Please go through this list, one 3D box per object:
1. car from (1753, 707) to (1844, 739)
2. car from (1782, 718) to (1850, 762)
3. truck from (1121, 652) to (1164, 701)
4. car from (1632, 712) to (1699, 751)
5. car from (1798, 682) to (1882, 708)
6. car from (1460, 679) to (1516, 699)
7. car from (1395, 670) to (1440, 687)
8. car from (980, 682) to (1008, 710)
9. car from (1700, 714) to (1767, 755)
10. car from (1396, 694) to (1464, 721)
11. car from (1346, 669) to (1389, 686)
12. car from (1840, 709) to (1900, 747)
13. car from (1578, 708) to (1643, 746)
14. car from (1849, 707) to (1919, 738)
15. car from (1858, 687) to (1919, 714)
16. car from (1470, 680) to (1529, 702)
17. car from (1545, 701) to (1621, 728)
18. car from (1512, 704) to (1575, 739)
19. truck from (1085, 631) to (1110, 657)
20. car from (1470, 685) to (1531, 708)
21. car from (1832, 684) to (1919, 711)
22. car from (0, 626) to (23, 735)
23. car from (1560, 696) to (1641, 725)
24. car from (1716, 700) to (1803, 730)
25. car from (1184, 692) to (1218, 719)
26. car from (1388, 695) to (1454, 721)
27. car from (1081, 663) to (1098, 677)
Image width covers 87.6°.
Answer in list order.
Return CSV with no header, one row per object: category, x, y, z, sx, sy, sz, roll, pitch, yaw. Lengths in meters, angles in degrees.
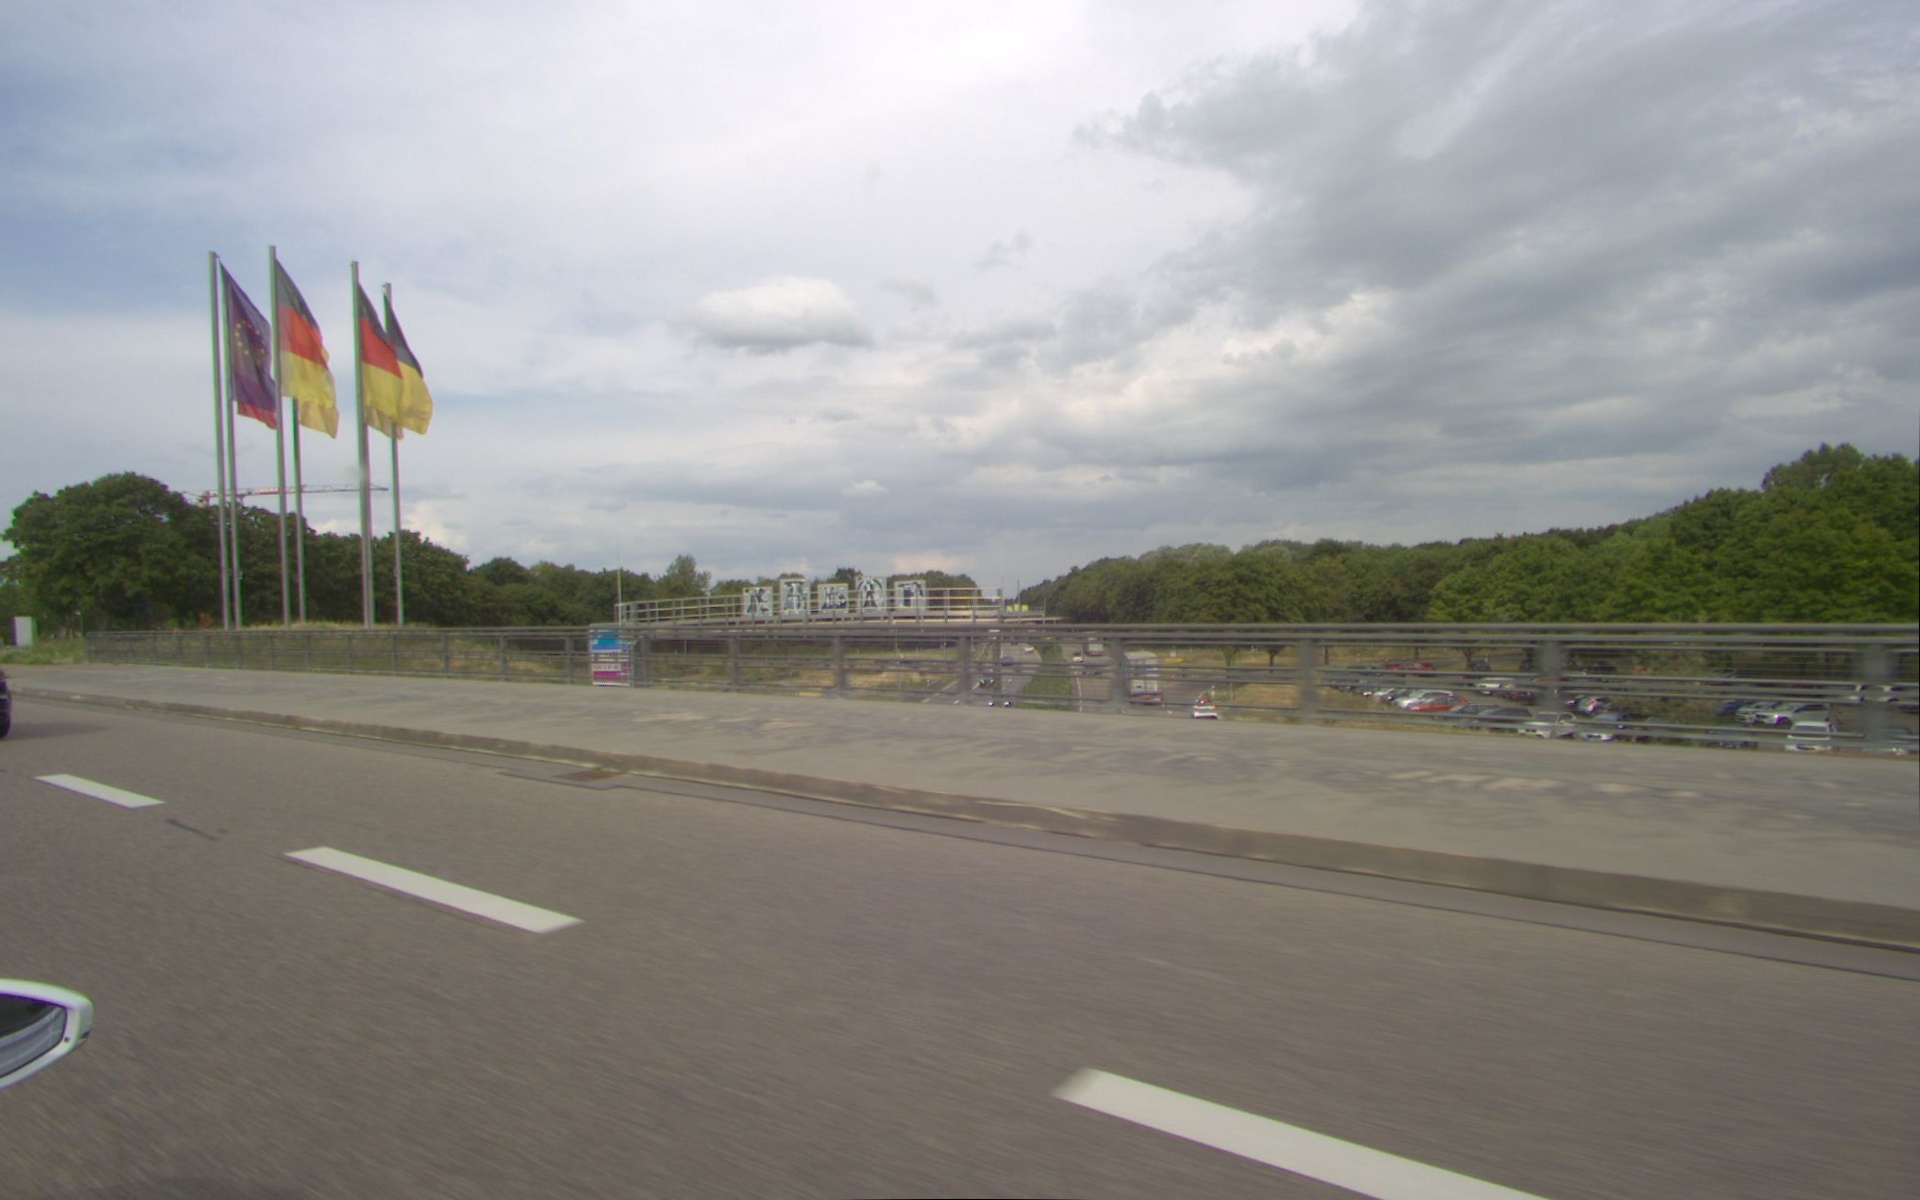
car,48.819,7.147,58.331,3.924,1.594,1.999,0,-1,-8
car,40.724,6.603,47.590,3.959,1.594,1.982,1,-2,-42
truck,16.337,6.749,90.618,3.293,3.665,13.994,0,-1,8
car,36.137,6.693,51.267,3.959,1.594,1.982,1,-2,-42
car,61.443,6.639,69.970,3.925,1.594,1.999,0,-1,13
car,45.501,7.649,86.352,3.926,1.594,1.999,0,-1,14
car,47.576,8.199,104.225,3.926,1.594,1.999,0,-1,14
car,2.869,8.002,84.107,1.961,2.039,4.000,0,-1,8
car,38.504,6.658,49.841,3.959,1.594,1.982,1,-2,-42
car,32.068,7.349,68.415,3.926,1.594,1.999,0,-1,14
car,42.623,8.120,104.742,3.926,1.594,1.999,0,-1,14
car,48.184,6.726,52.979,3.959,1.594,1.982,1,-2,-42
car,34.635,6.741,53.307,3.959,1.594,1.982,1,-2,-42
car,54.900,7.153,58.769,3.924,1.594,1.999,0,-1,-8
car,61.128,6.514,64.831,3.925,1.594,1.999,0,-1,13
car,45.143,7.592,83.883,3.926,1.594,1.999,0,-1,14
car,42.091,7.714,67.770,3.926,1.594,1.999,0,-1,14
car,32.861,6.815,56.371,3.959,1.594,1.982,1,-2,-42
truck,25.078,7.952,183.475,3.778,4.519,12.657,0,-1,4
car,43.195,7.707,80.077,3.926,1.594,1.999,0,-1,14
car,61.748,6.578,67.513,3.925,1.594,1.999,0,-1,13
car,-14.568,1.096,13.608,4.057,1.413,1.727,-1,-1,33
car,40.779,7.040,63.856,3.926,1.594,1.999,0,-1,14
car,48.397,6.940,60.656,3.924,1.594,1.999,0,-1,-8
car,17.399,7.577,72.446,1.725,1.616,4.001,0,-1,4
car,32.563,7.586,70.782,3.926,1.594,1.999,0,-1,14
car,16.499,8.862,127.296,1.790,1.527,4.001,0,-1,2
